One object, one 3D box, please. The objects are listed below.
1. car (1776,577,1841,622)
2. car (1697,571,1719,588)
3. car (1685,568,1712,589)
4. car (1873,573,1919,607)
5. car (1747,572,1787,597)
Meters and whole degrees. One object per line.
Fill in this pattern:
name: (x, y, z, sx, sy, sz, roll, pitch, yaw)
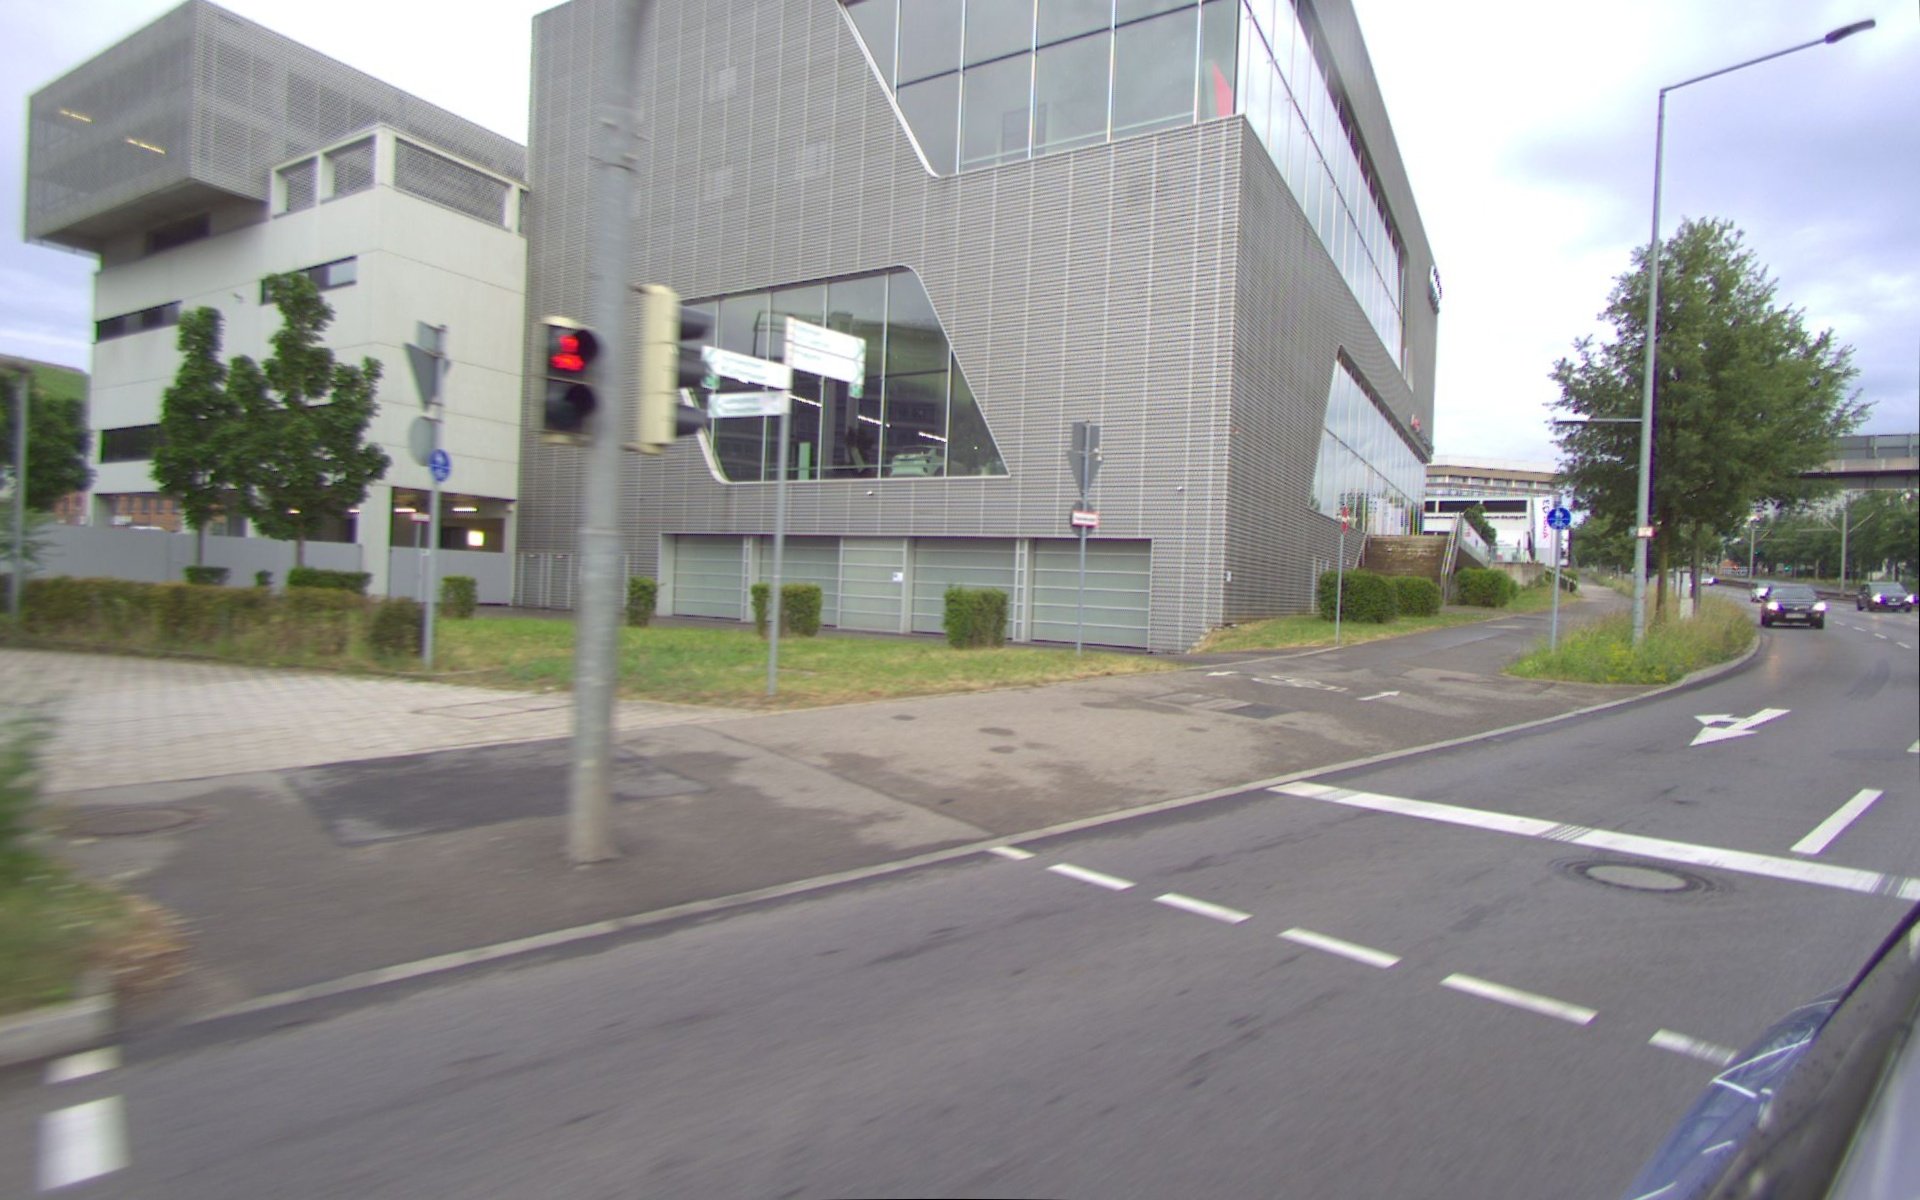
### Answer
car: (32.598, -0.036, 38.926, 1.822, 1.629, 4.054, 1, 1, 40)
car: (96.751, -2.644, 130.933, 1.985, 2.038, 3.955, 0, 2, 32)
car: (68.241, -1.992, 93.545, 1.849, 1.832, 4.064, 1, 0, 34)
car: (51.785, -0.550, 55.780, 1.852, 1.832, 4.057, 1, 0, 38)
car: (59.660, -1.130, 74.863, 1.848, 1.703, 4.066, 3, 2, 32)
